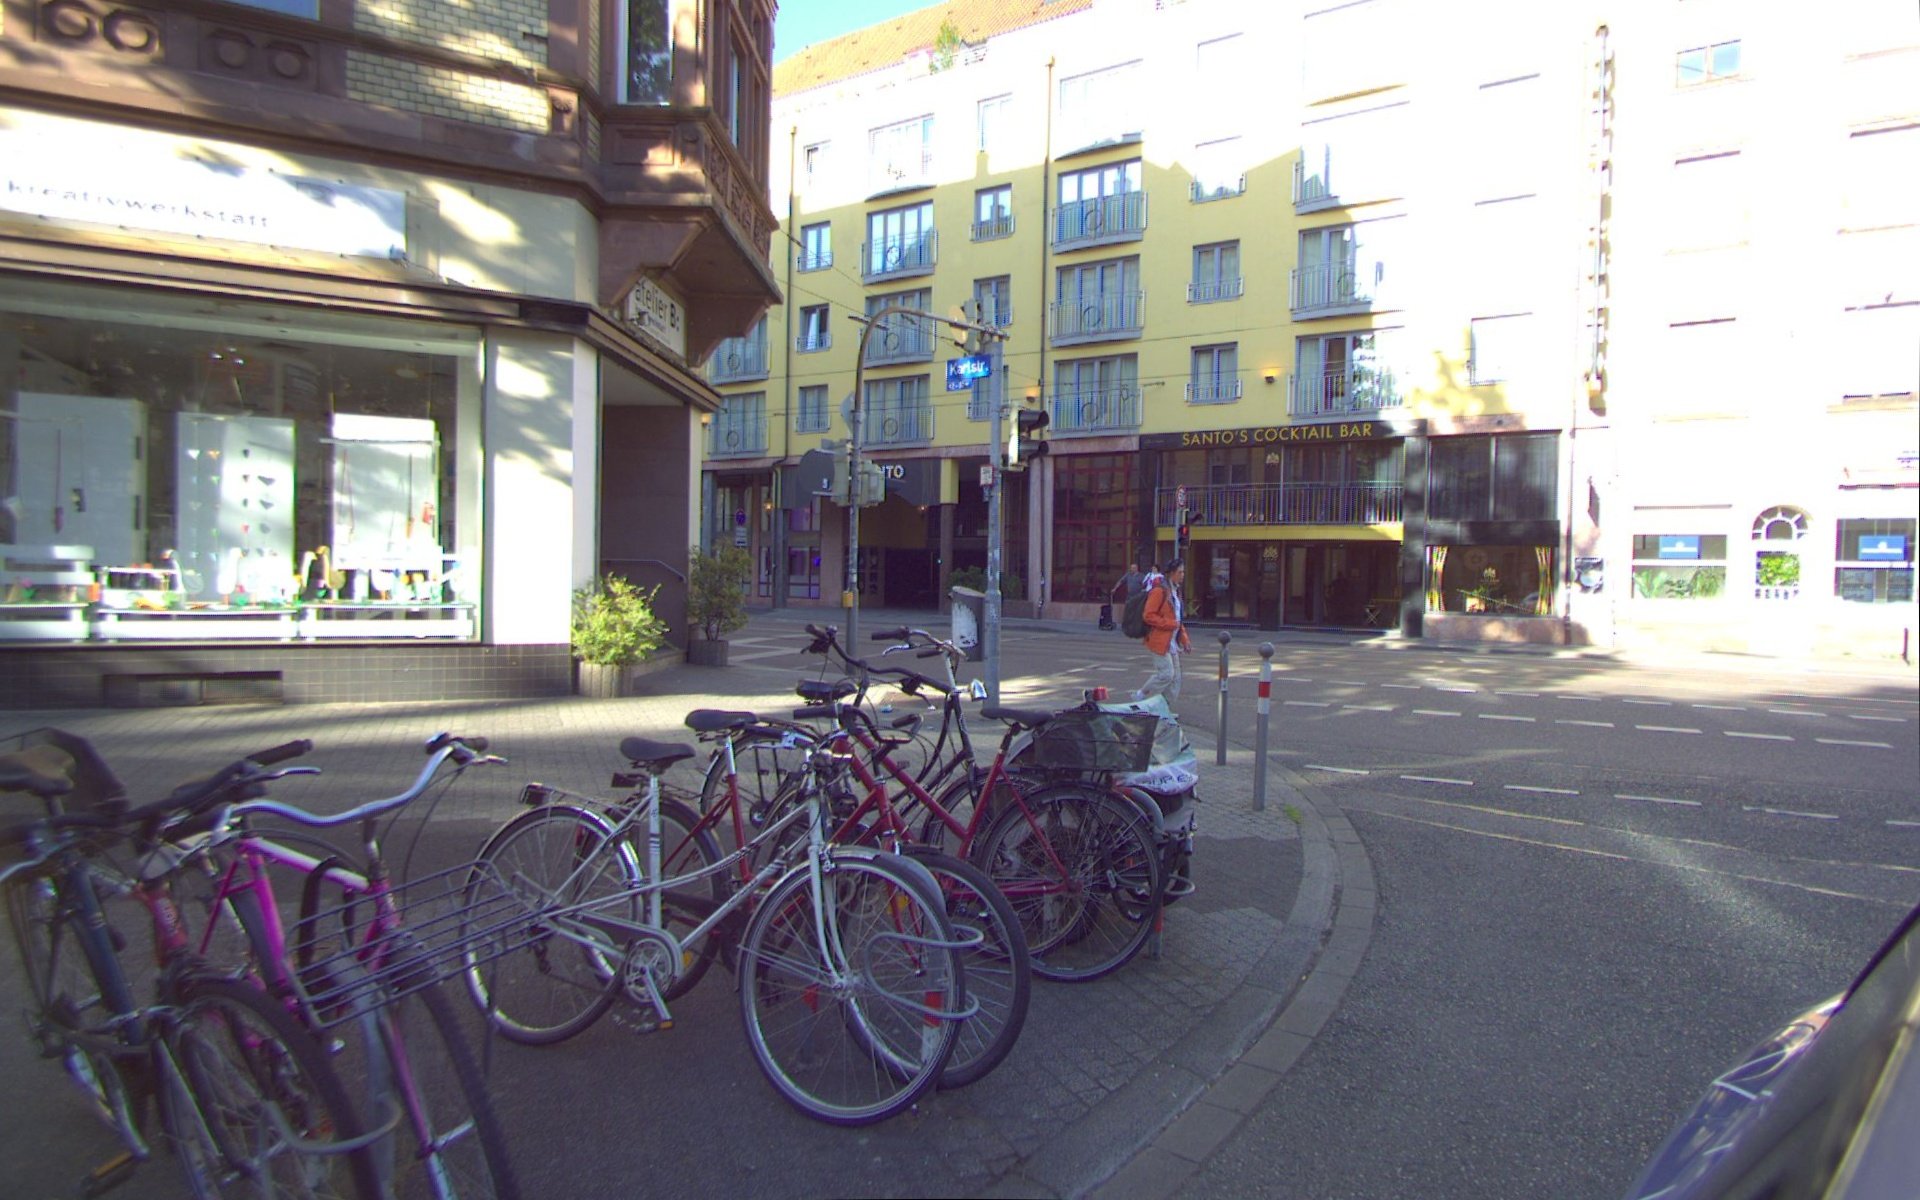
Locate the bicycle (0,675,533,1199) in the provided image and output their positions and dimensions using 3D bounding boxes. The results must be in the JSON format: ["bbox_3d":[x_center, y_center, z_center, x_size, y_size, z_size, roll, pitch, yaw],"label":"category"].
[{"bbox_3d":[-1.707,0.807,2.038,1.920,1.064,0.498,4,4,29],"label":"bicycle"}]

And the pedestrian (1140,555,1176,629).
[{"bbox_3d":[5.171,-0.223,26.454,0.729,1.862,0.719,2,5,31],"label":"pedestrian"}]

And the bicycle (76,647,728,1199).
[{"bbox_3d":[-1.436,0.767,2.439,1.920,1.106,0.421,4,4,29],"label":"bicycle"}]

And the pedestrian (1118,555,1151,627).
[{"bbox_3d":[4.690,-0.257,27.182,0.673,1.862,0.719,2,5,31],"label":"pedestrian"}]

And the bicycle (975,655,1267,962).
[{"bbox_3d":[0.681,0.806,4.356,0.996,1.039,0.727,2,2,44],"label":"bicycle"}]

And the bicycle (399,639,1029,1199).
[{"bbox_3d":[-0.784,0.757,2.867,1.918,1.106,0.421,4,4,27],"label":"bicycle"}]

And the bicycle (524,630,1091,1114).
[{"bbox_3d":[-0.572,0.739,3.275,1.918,1.106,0.421,4,4,27],"label":"bicycle"}]

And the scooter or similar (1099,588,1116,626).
[{"bbox_3d":[3.980,0.175,27.290,0.354,0.989,0.419,1,4,29],"label":"scooter or similar"}]

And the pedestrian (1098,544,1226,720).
[{"bbox_3d":[2.050,0.302,10.443,1.153,1.700,1.006,1,1,5],"label":"pedestrian"}]

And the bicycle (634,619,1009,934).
[{"bbox_3d":[-0.555,0.691,4.267,1.452,1.106,0.573,2,4,8],"label":"bicycle"}]

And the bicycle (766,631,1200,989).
[{"bbox_3d":[0.074,0.716,3.667,1.452,1.106,0.424,2,4,6],"label":"bicycle"}]
